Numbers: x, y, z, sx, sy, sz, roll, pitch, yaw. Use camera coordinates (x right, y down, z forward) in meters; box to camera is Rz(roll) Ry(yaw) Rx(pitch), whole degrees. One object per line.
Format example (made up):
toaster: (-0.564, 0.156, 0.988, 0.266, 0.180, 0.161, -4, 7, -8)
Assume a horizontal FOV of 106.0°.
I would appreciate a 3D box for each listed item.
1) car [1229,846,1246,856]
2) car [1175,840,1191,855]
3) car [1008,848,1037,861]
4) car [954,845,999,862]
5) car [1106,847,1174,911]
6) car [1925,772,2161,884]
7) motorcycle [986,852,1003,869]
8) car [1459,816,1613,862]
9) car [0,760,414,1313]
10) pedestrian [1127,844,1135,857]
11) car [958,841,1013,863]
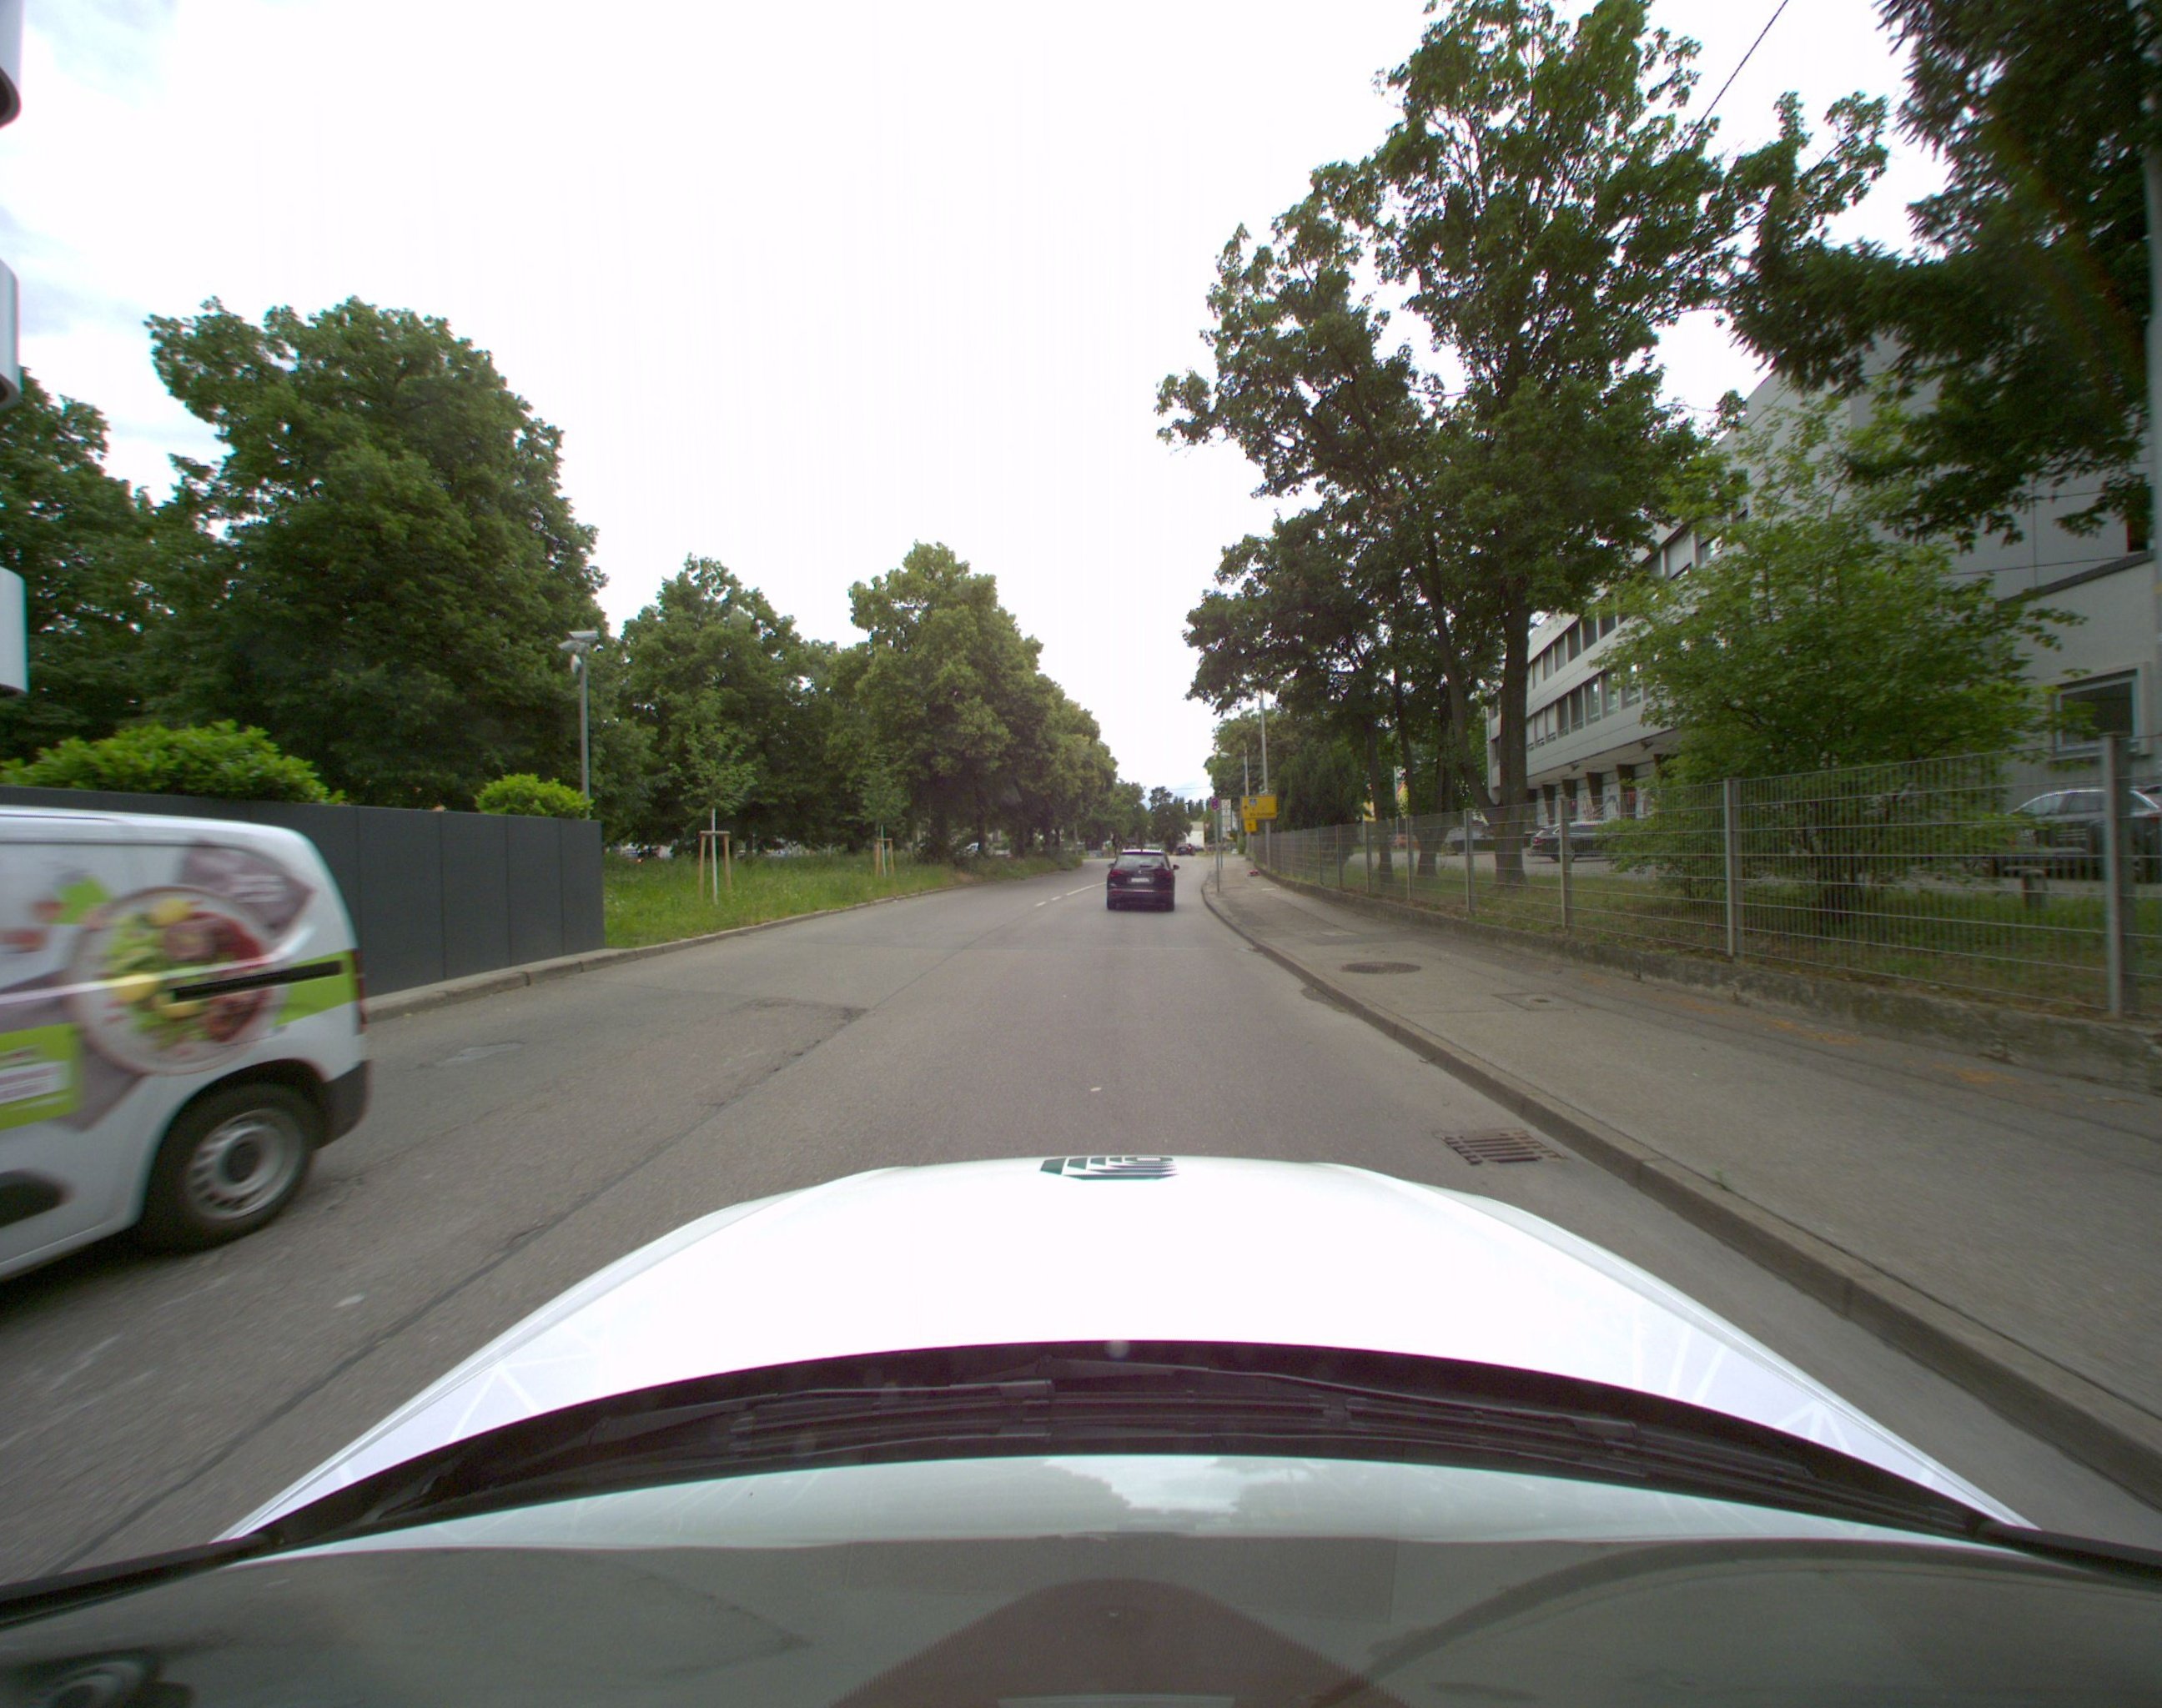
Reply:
car: (26.814, -0.538, 139.331, 1.976, 1.786, 4.023, -1, 0, 24)
car: (11.123, -0.686, 89.106, 1.650, 1.574, 3.835, -3, 0, 6)
car: (-7.131, 0.091, 99.150, 3.382, 1.478, 1.641, -2, 1, 0)
car: (-12.864, -0.038, 100.119, 4.942, 1.942, 2.056, -2, 1, 14)
car: (1.655, 0.640, 22.720, 1.731, 1.618, 3.646, 0, 0, 4)
car: (17.059, -0.494, 13.612, 1.979, 1.566, 4.459, -5, 1, 14)
motorcycle: (-6.220, 0.460, 58.738, 0.562, 1.168, 2.043, -2, 1, 13)
car: (17.090, -0.533, 30.782, 2.011, 1.474, 4.637, -3, 0, -40)
car: (-4.365, 0.593, 2.058, 1.801, 1.764, 4.207, -1, 0, 1)
pedestrian: (6.760, -0.479, 109.542, 0.731, 1.741, 0.735, -3, 1, -40)
car: (-11.222, -0.274, 96.305, 6.045, 2.387, 2.397, -2, 1, 3)
